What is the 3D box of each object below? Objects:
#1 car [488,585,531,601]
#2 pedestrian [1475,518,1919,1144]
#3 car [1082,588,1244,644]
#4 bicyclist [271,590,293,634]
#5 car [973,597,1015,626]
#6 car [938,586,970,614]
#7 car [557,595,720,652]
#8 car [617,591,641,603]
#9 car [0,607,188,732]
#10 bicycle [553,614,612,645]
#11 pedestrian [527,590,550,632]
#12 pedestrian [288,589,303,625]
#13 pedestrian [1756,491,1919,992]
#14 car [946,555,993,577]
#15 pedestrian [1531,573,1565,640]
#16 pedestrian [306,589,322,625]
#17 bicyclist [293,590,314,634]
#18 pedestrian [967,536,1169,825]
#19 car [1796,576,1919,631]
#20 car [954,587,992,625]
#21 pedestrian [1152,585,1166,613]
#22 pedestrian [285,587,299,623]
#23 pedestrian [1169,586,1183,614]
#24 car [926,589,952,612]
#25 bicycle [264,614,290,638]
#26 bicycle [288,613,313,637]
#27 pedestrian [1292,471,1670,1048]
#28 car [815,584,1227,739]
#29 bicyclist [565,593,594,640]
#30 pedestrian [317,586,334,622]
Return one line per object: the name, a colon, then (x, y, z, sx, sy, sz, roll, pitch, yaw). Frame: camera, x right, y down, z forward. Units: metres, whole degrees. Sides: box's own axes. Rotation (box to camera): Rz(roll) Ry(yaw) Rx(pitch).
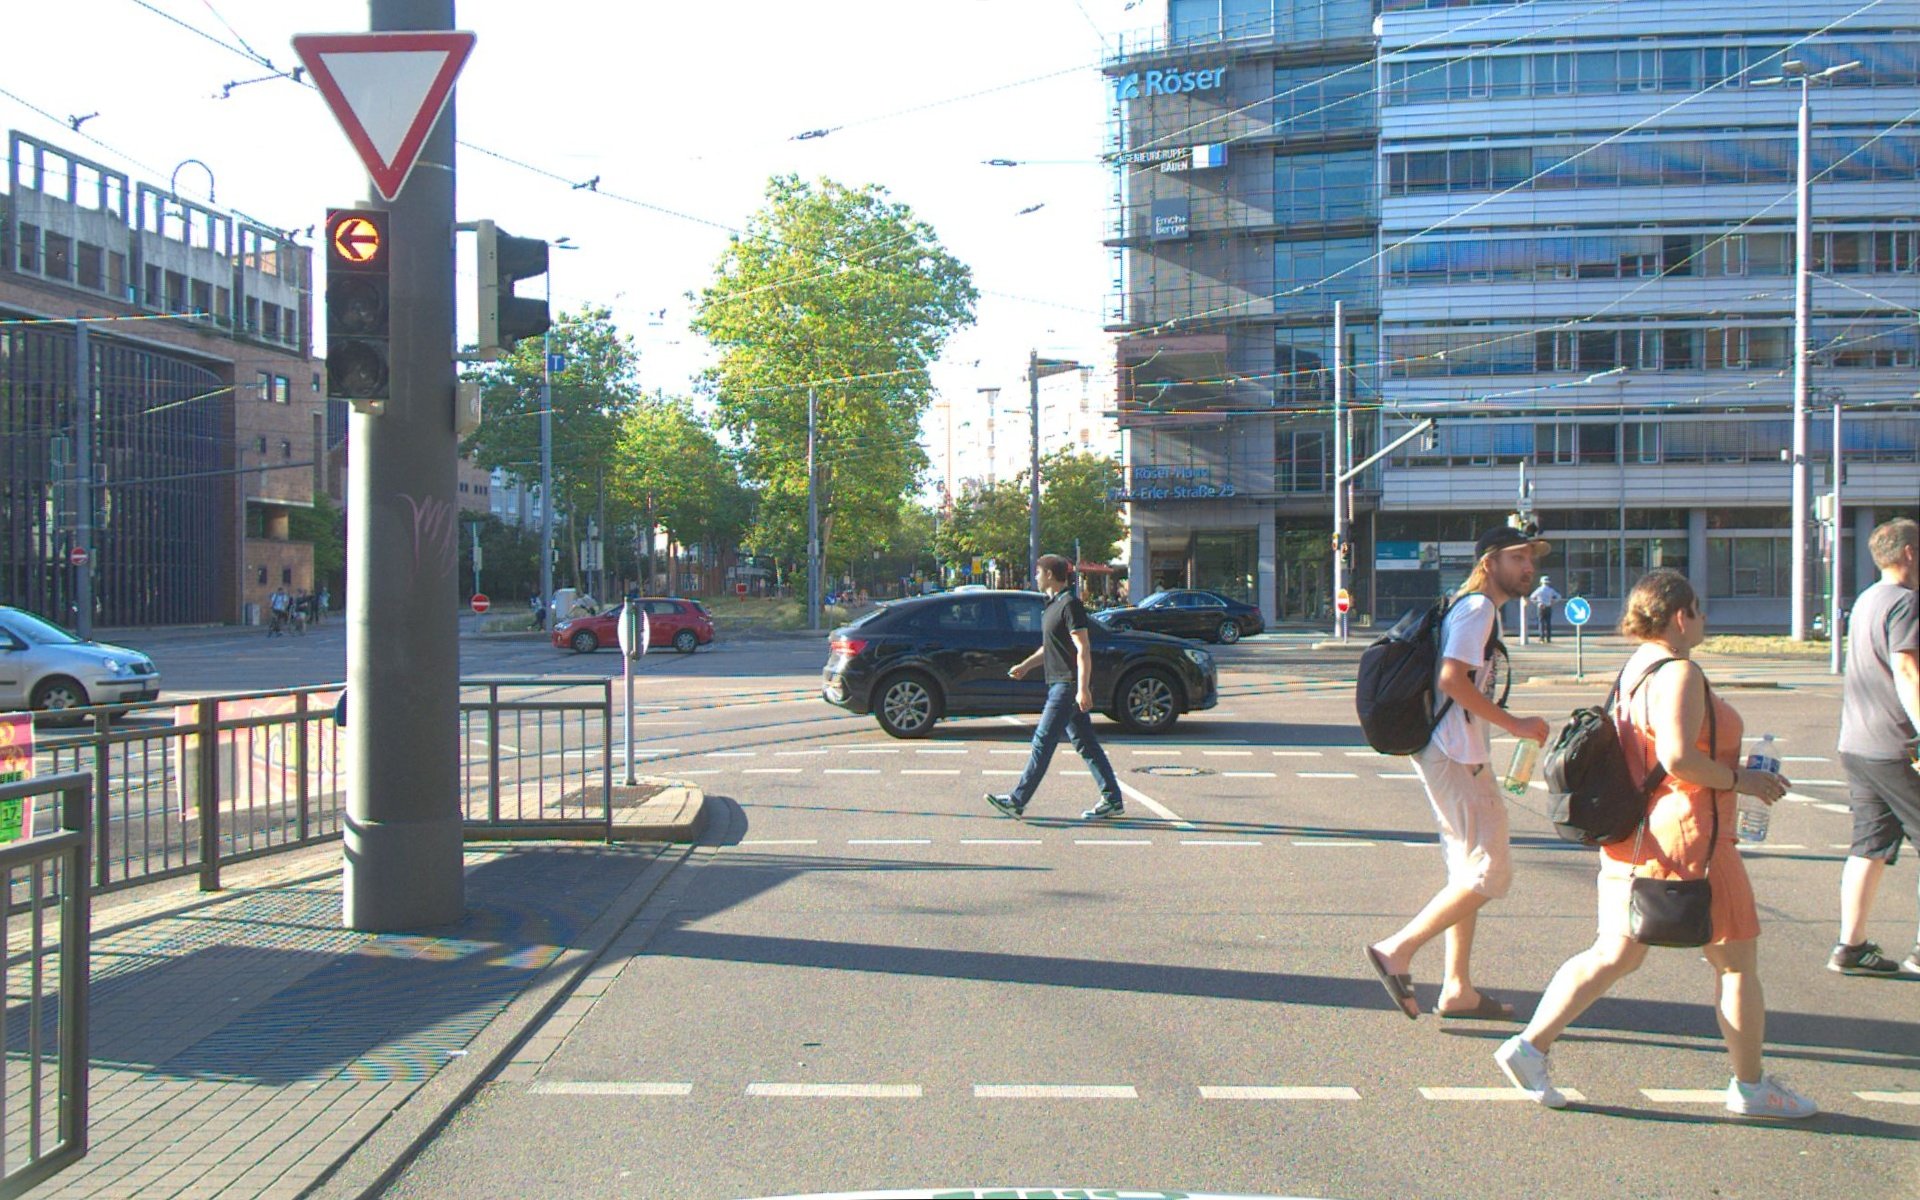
car: (-46.449, -0.734, 170.508, 3.948, 1.579, 1.589, 1, 0, -32)
pedestrian: (2.223, 0.641, 4.974, 1.052, 1.711, 0.756, 1, -1, -8)
car: (5.653, 0.426, 46.263, 4.164, 1.459, 1.791, -1, 0, -11)
bicyclist: (-26.756, 0.460, 65.274, 0.582, 1.705, 0.788, -1, 0, -7)
car: (1.664, 0.552, 82.938, 1.953, 1.355, 3.999, -1, 0, -1)
car: (-0.381, -0.027, 105.062, 1.953, 1.691, 3.999, -1, 0, -1)
car: (-8.513, 0.607, 44.104, 4.162, 1.417, 1.792, -1, 0, -9)
car: (-43.485, -0.344, 217.139, 1.951, 1.534, 4.003, -1, 0, 7)
car: (-11.903, 0.838, 20.479, 3.833, 1.459, 1.823, 0, 0, -6)
bicycle: (-11.479, 0.897, 50.277, 1.716, 0.915, 0.406, -1, 0, -21)
pedestrian: (-15.931, 0.404, 62.534, 0.740, 1.557, 0.507, 1, 0, -8)
pedestrian: (-34.536, 0.376, 85.971, 0.479, 1.842, 0.546, -1, 0, 6)
pedestrian: (4.084, 0.554, 6.859, 1.123, 1.927, 0.831, 1, -1, -8)
car: (0.786, -2.884, 141.336, 3.681, 1.780, 1.783, 1, 0, 14)
pedestrian: (15.244, 0.176, 42.868, 0.704, 1.711, 0.557, 1, 0, 6)
pedestrian: (-33.073, 0.354, 84.680, 0.511, 1.810, 0.546, -1, 0, 6)
bicyclist: (-26.013, 0.475, 65.541, 0.582, 1.705, 0.788, -1, 0, -7)
pedestrian: (0.706, 0.529, 11.229, 1.185, 1.854, 1.040, 1, -1, -6)
car: (25.086, 0.066, 44.615, 4.151, 1.417, 1.796, -1, 0, 4)
car: (0.673, 0.300, 89.762, 1.953, 2.026, 3.999, -1, 0, -1)
pedestrian: (10.735, -0.060, 89.248, 0.723, 1.491, 0.537, -1, 0, 8)
pedestrian: (-34.691, 0.265, 85.923, 0.479, 1.842, 0.546, -1, 0, 6)
pedestrian: (11.624, 0.004, 88.976, 0.691, 1.491, 0.384, -1, 0, 8)
car: (-1.639, -0.002, 126.759, 1.953, 1.691, 3.999, -1, 0, -1)
bicycle: (-26.905, 1.029, 65.163, 0.503, 0.897, 1.835, -1, 0, -8)
bicycle: (-26.110, 0.997, 65.481, 0.503, 0.897, 1.835, -1, 0, -8)
pedestrian: (1.827, 0.536, 5.897, 1.053, 1.904, 0.737, 1, -1, -8)
car: (0.617, 0.642, 18.492, 4.393, 1.611, 1.824, 0, 0, -4)
bicyclist: (-11.555, 0.494, 50.255, 0.807, 1.390, 0.398, -1, 0, -20)
pedestrian: (-33.032, 0.206, 86.047, 0.627, 1.842, 0.546, -1, 0, 6)
